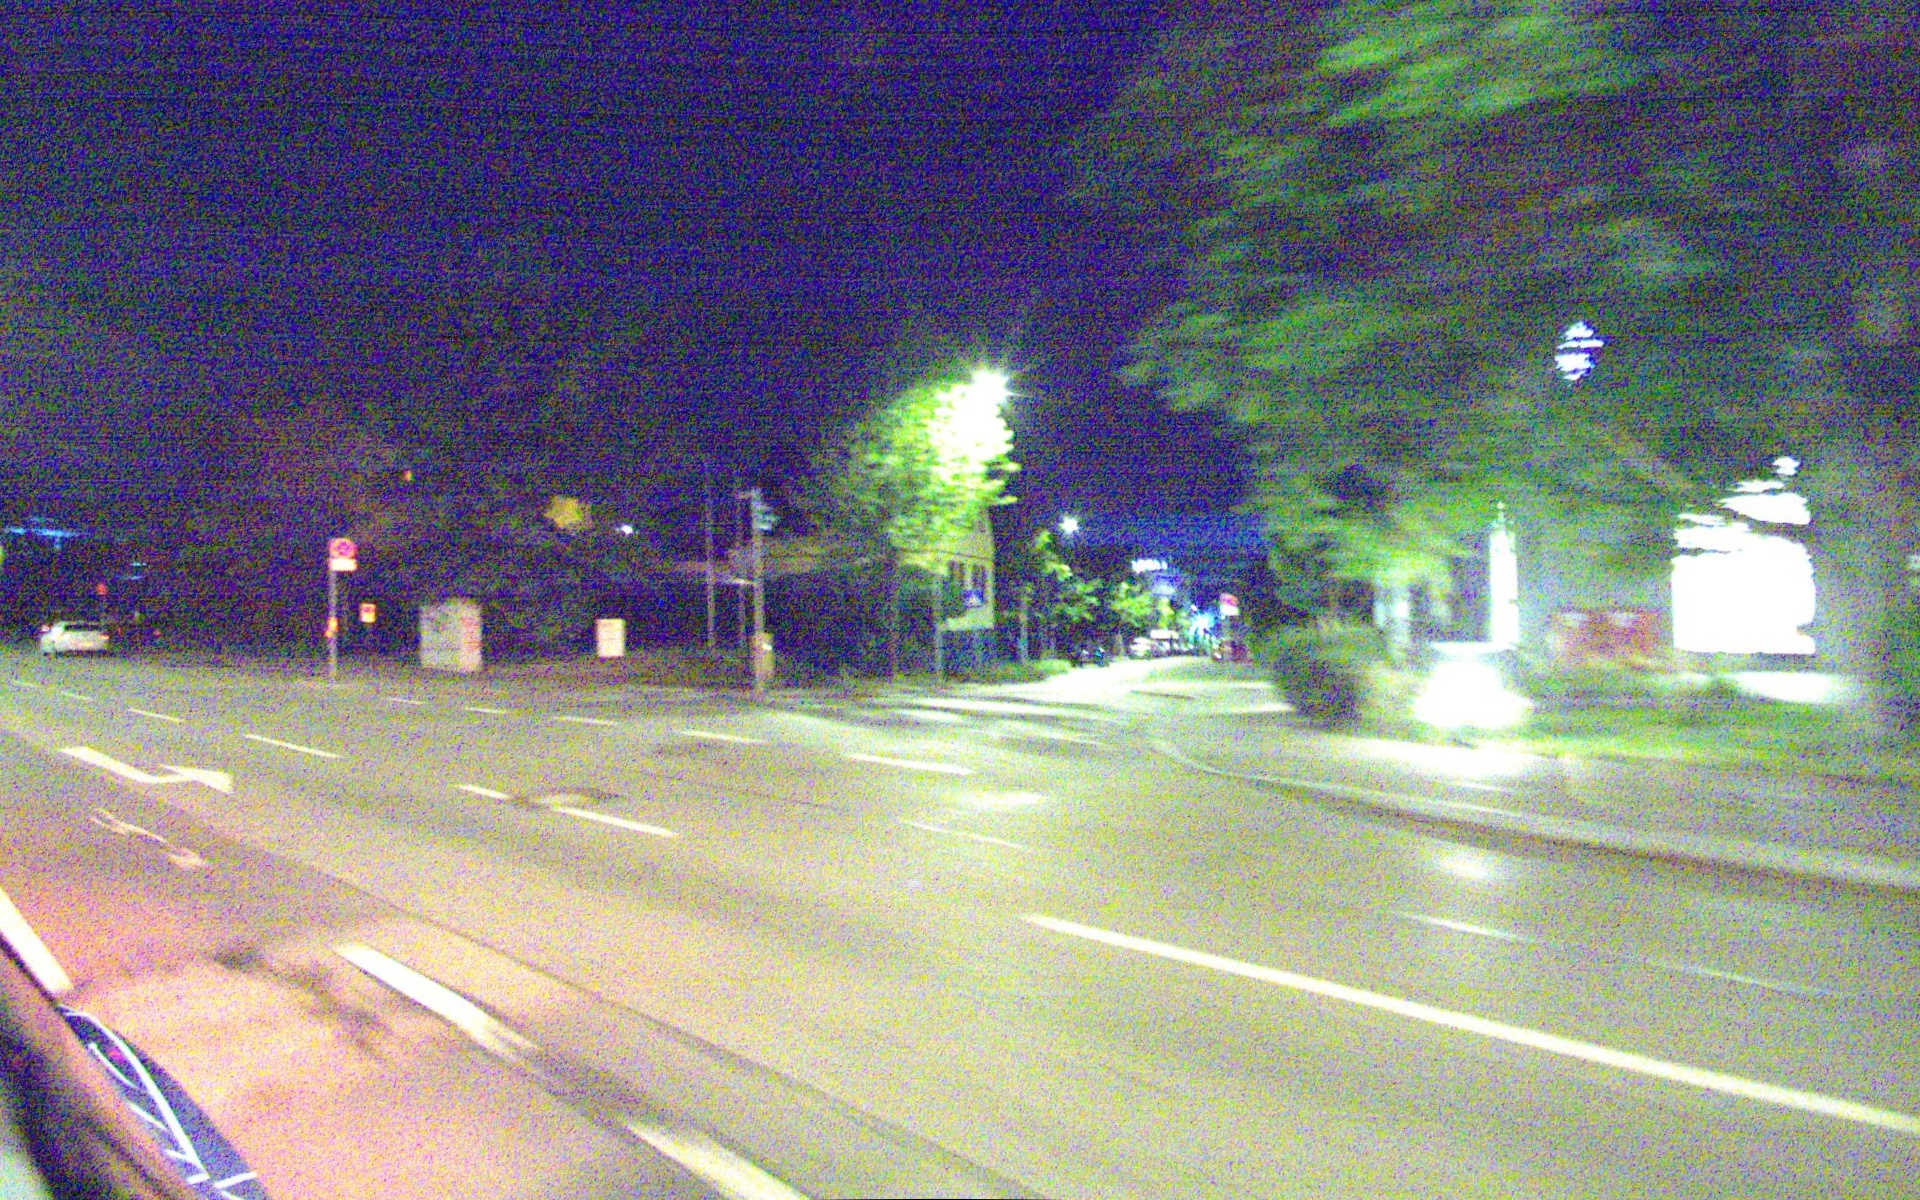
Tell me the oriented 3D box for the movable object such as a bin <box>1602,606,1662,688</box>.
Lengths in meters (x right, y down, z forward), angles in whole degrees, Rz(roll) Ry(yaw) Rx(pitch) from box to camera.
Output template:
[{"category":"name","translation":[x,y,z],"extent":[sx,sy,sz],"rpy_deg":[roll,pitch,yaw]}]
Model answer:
[{"category":"movable object such as a bin","translation":[12.339,0.864,18.585],"extent":[0.809,1.463,0.435],"rpy_deg":[-3,-4,44]}]

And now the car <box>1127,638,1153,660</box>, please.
[{"category":"car","translation":[14.572,3.949,81.910],"extent":[1.820,1.725,3.896],"rpy_deg":[-2,-3,14]}]

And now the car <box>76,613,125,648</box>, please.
[{"category":"car","translation":[-61.150,2.165,71.987],"extent":[4.626,2.339,2.182],"rpy_deg":[-2,-2,44]}]

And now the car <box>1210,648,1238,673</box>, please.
[{"category":"car","translation":[19.128,4.352,73.368],"extent":[1.860,1.654,3.983],"rpy_deg":[0,-1,13]}]

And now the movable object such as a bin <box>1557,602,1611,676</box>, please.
[{"category":"movable object such as a bin","translation":[11.870,0.748,19.260],"extent":[0.732,1.381,0.352],"rpy_deg":[-5,-6,42]}]

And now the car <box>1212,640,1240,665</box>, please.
[{"category":"car","translation":[20.659,4.048,78.625],"extent":[1.981,1.850,3.982],"rpy_deg":[0,-2,14]}]

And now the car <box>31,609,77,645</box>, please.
[{"category":"car","translation":[-61.809,1.870,69.010],"extent":[4.968,2.339,1.971],"rpy_deg":[-2,-4,44]}]

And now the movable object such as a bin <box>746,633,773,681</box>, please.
[{"category":"movable object such as a bin","translation":[-5.534,1.577,27.989],"extent":[0.561,1.317,0.620],"rpy_deg":[1,-3,3]}]

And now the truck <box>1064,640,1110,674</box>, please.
[{"category":"truck","translation":[7.368,3.253,58.272],"extent":[1.982,1.807,3.979],"rpy_deg":[3,-1,16]}]

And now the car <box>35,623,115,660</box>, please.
[{"category":"car","translation":[-35.959,1.672,41.070],"extent":[4.336,1.414,1.891],"rpy_deg":[-1,-2,41]}]

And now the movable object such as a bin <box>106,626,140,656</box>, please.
[{"category":"movable object such as a bin","translation":[-43.250,2.104,52.312],"extent":[1.064,1.507,1.153],"rpy_deg":[-1,-2,38]}]
